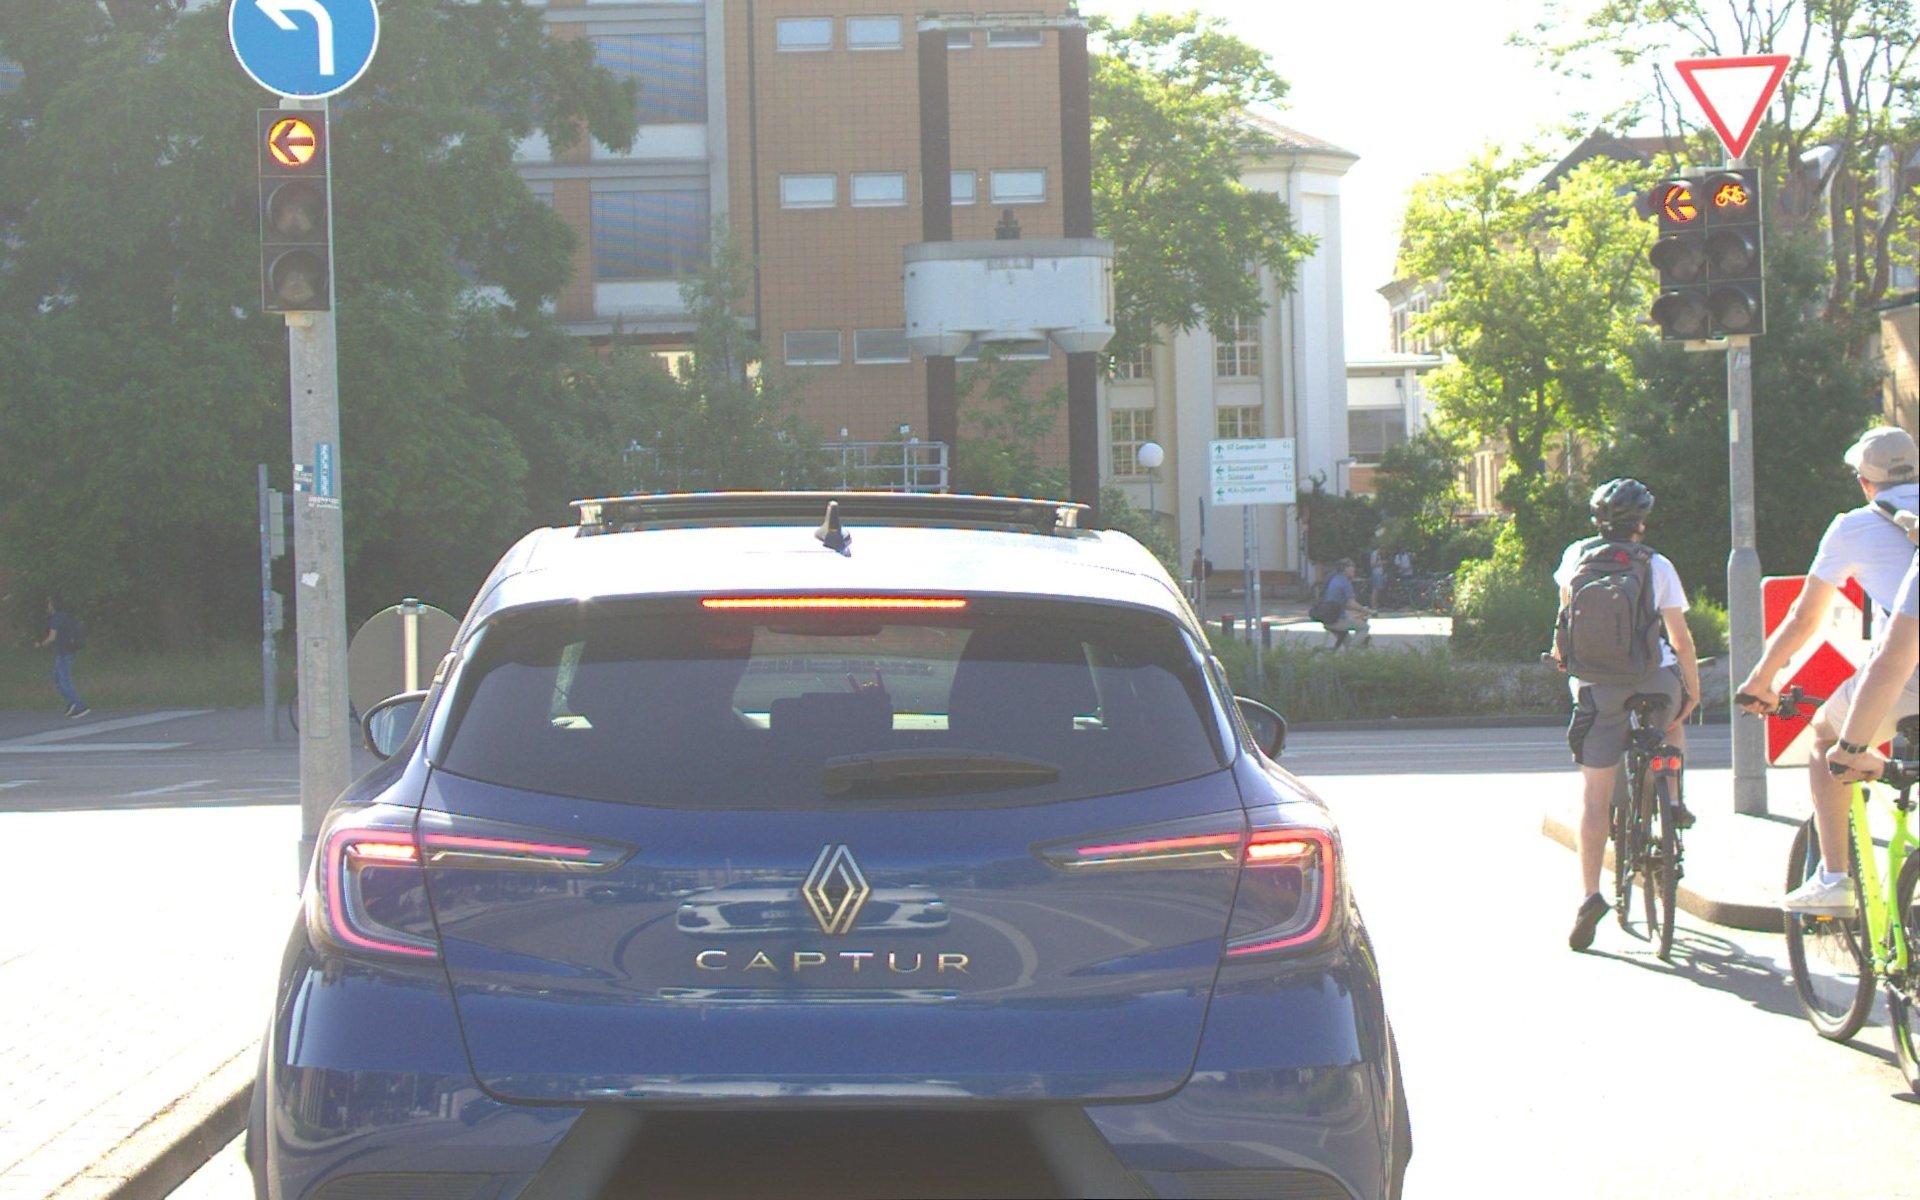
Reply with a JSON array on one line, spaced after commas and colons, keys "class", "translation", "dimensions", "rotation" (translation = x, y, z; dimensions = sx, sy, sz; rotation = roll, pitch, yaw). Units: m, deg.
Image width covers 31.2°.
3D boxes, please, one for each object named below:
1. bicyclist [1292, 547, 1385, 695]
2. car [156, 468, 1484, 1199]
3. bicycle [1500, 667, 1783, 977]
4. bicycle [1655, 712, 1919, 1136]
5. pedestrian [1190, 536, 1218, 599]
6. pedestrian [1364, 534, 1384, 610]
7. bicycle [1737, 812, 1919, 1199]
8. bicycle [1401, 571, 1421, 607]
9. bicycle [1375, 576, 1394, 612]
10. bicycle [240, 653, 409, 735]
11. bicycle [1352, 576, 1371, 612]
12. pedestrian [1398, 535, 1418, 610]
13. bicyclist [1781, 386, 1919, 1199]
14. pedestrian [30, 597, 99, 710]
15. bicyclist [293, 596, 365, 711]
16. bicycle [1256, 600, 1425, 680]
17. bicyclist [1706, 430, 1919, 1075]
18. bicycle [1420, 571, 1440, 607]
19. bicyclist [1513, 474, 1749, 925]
[{"class": "bicyclist", "translation": [4.834, 0.266, 43.863], "dimensions": [1.102, 1.861, 0.652], "rotation": [-1, 1, 10]}, {"class": "car", "translation": [-0.267, 0.615, 6.691], "dimensions": [1.803, 1.626, 4.000], "rotation": [0, 1, -2]}, {"class": "bicycle", "translation": [2.511, 0.783, 12.896], "dimensions": [0.739, 0.992, 2.173], "rotation": [1, 1, 3]}, {"class": "bicycle", "translation": [2.613, 0.867, 9.816], "dimensions": [0.659, 0.999, 1.970], "rotation": [1, 1, -6]}, {"class": "pedestrian", "translation": [7.232, -0.957, 101.948], "dimensions": [0.623, 1.849, 0.563], "rotation": [-1, 1, -23]}, {"class": "pedestrian", "translation": [10.975, -0.751, 91.038], "dimensions": [0.475, 2.007, 0.523], "rotation": [-1, 1, 6]}, {"class": "bicycle", "translation": [2.228, 0.970, 7.251], "dimensions": [0.740, 0.893, 1.978], "rotation": [1, 1, 1]}, {"class": "bicycle", "translation": [12.375, -0.304, 94.398], "dimensions": [0.405, 0.969, 1.683], "rotation": [1, 1, 4]}, {"class": "bicycle", "translation": [11.607, -0.168, 94.032], "dimensions": [0.405, 0.969, 1.683], "rotation": [1, 1, 4]}, {"class": "bicycle", "translation": [-8.083, 1.189, 43.763], "dimensions": [2.005, 0.961, 0.598], "rotation": [-2, 1, -27]}, {"class": "bicycle", "translation": [10.985, -0.177, 94.075], "dimensions": [0.405, 0.969, 1.683], "rotation": [1, 1, 4]}, {"class": "pedestrian", "translation": [12.032, -0.749, 92.390], "dimensions": [0.475, 2.007, 0.468], "rotation": [-1, 1, 6]}, {"class": "bicyclist", "translation": [2.232, 0.412, 7.239], "dimensions": [0.751, 1.663, 1.016], "rotation": [1, 0, 1]}, {"class": "pedestrian", "translation": [-12.836, 0.760, 49.305], "dimensions": [0.737, 1.598, 0.598], "rotation": [-1, 1, 12]}, {"class": "bicyclist", "translation": [-8.036, 0.676, 43.781], "dimensions": [0.737, 1.436, 0.598], "rotation": [-2, 1, -27]}, {"class": "bicycle", "translation": [4.865, 0.509, 43.892], "dimensions": [2.082, 0.927, 0.696], "rotation": [-2, 2, 9]}, {"class": "bicyclist", "translation": [2.623, 0.408, 9.805], "dimensions": [0.645, 1.733, 1.067], "rotation": [1, 0, -6]}, {"class": "bicycle", "translation": [12.911, -0.297, 94.412], "dimensions": [0.405, 0.969, 1.683], "rotation": [1, 1, 4]}, {"class": "bicyclist", "translation": [2.508, 0.356, 12.940], "dimensions": [0.726, 1.623, 0.969], "rotation": [1, 0, 4]}]
